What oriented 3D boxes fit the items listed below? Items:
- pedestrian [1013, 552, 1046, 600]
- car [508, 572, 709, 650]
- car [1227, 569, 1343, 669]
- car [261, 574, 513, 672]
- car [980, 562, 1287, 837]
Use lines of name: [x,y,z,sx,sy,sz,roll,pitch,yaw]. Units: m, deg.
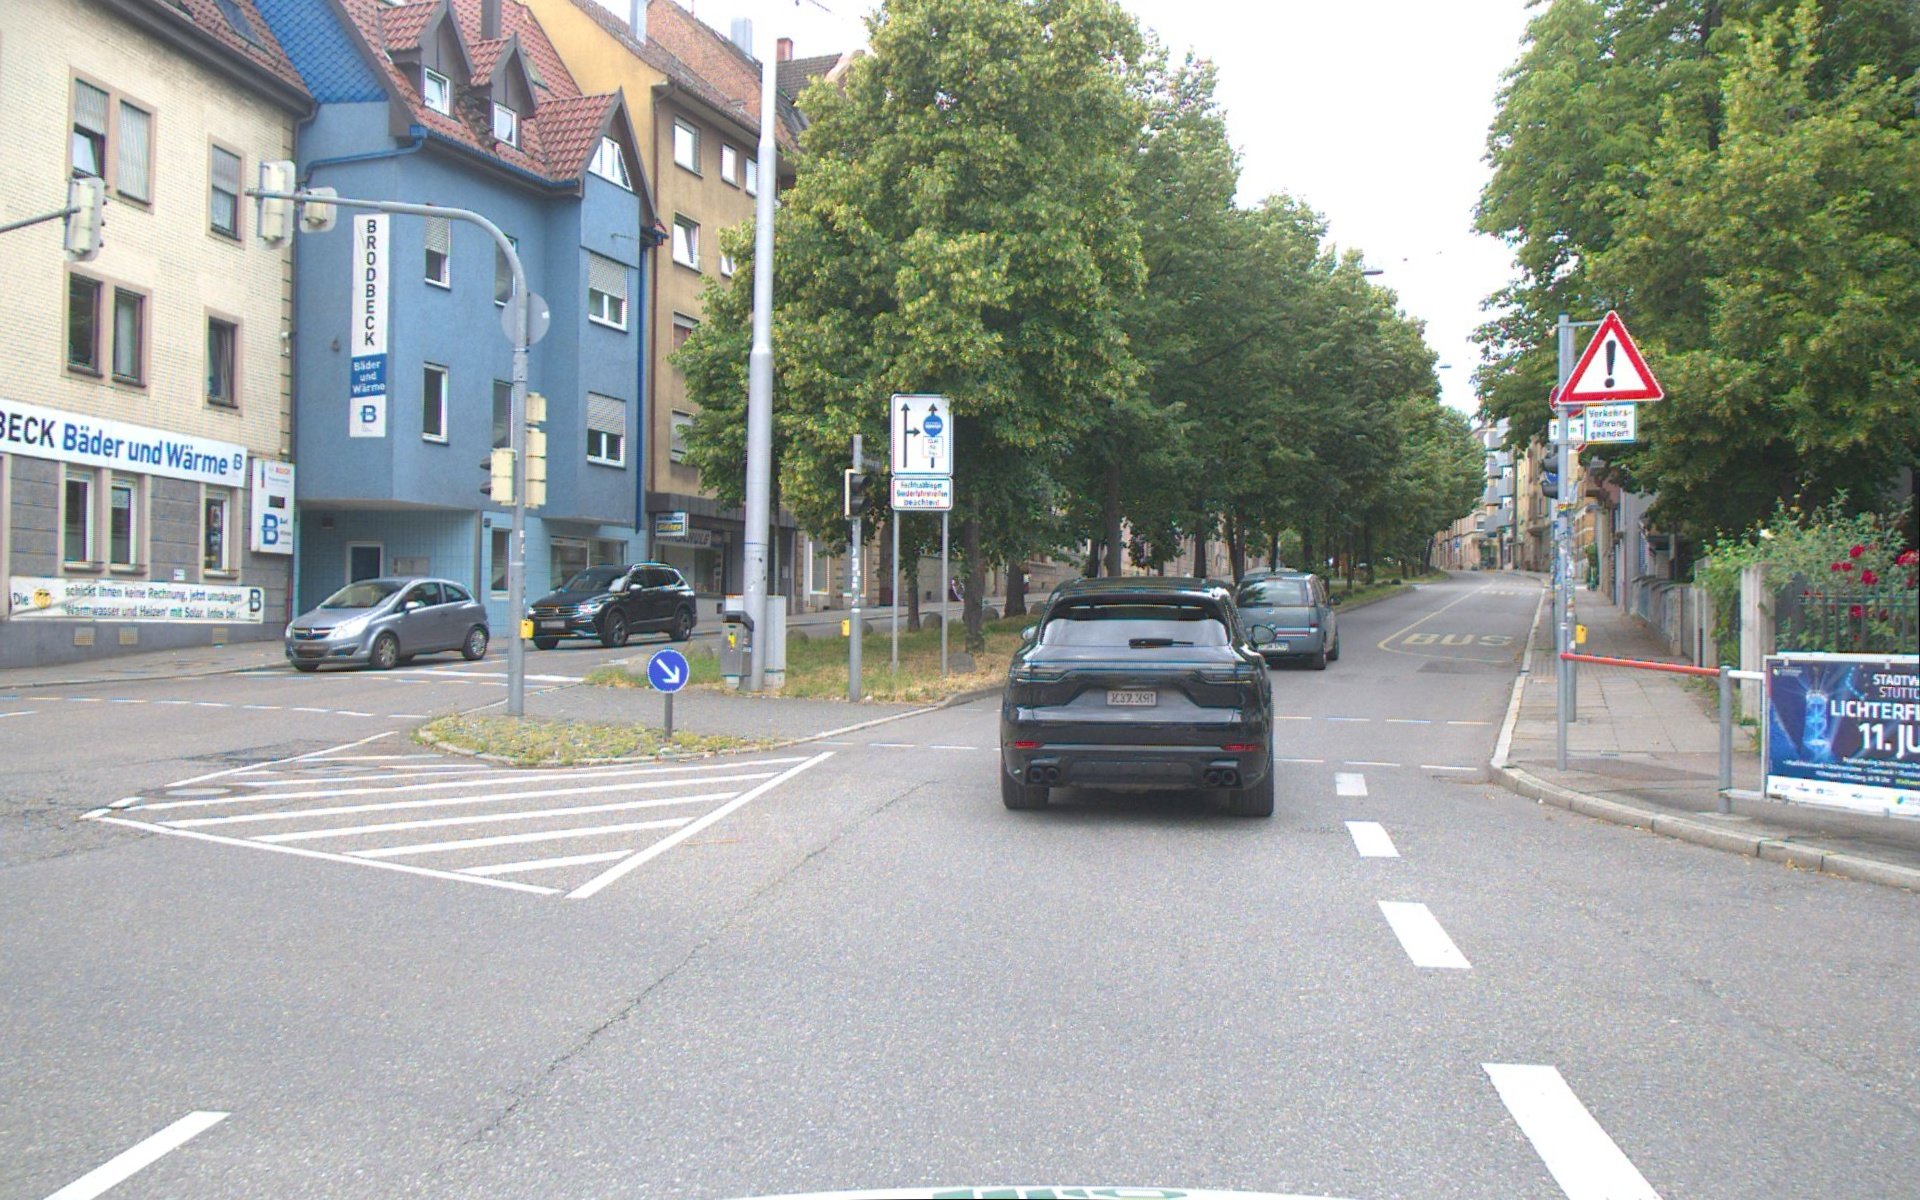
pedestrian: [3.020,-1.063,71.816,1.167,2.049,0.989,1,1,17]
car: [-7.190,0.167,34.402,1.831,1.440,4.699,0,2,21]
car: [5.736,0.329,28.911,1.614,1.583,3.585,2,0,17]
car: [-9.425,0.349,27.561,1.681,1.502,4.219,-1,0,20]
car: [1.505,0.609,13.138,1.988,1.753,4.504,1,1,10]
